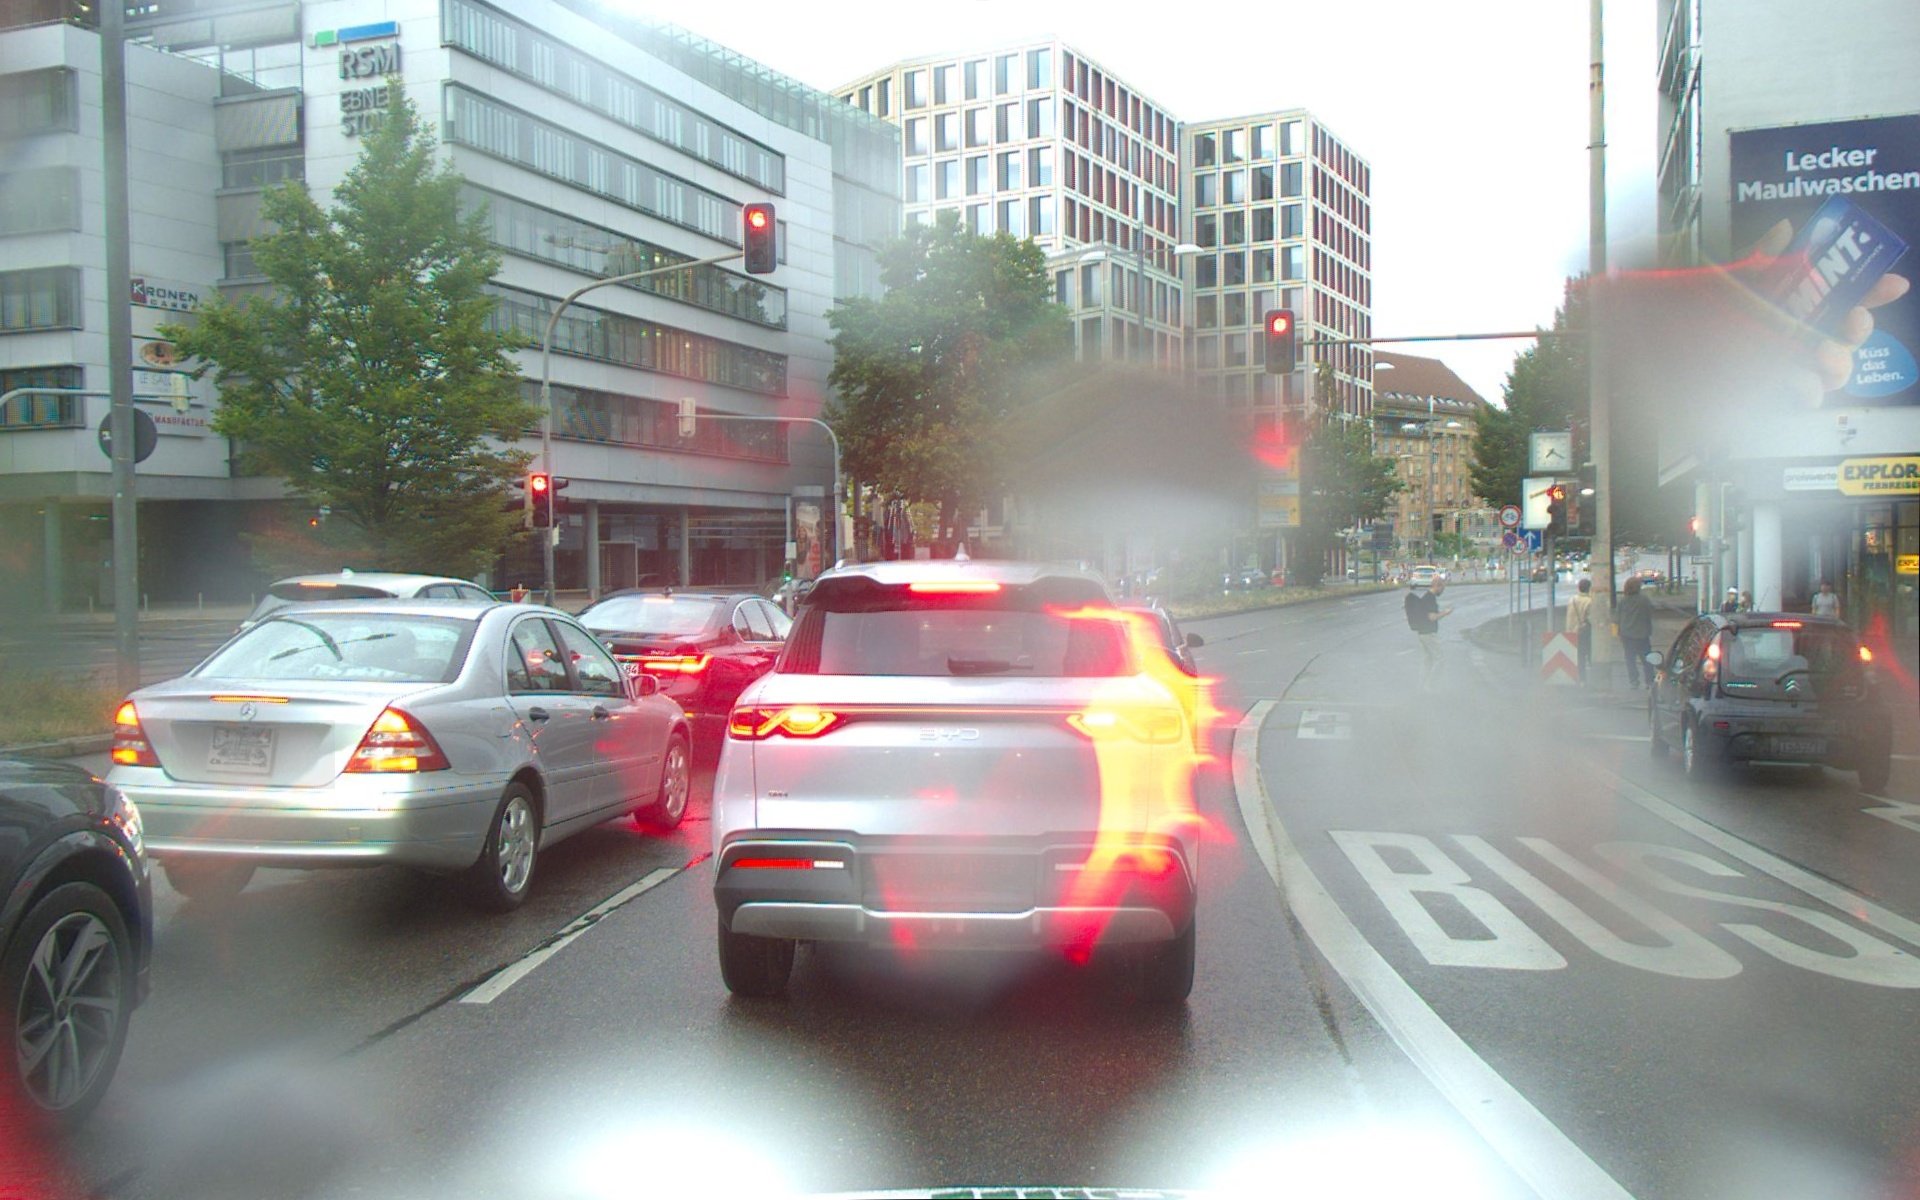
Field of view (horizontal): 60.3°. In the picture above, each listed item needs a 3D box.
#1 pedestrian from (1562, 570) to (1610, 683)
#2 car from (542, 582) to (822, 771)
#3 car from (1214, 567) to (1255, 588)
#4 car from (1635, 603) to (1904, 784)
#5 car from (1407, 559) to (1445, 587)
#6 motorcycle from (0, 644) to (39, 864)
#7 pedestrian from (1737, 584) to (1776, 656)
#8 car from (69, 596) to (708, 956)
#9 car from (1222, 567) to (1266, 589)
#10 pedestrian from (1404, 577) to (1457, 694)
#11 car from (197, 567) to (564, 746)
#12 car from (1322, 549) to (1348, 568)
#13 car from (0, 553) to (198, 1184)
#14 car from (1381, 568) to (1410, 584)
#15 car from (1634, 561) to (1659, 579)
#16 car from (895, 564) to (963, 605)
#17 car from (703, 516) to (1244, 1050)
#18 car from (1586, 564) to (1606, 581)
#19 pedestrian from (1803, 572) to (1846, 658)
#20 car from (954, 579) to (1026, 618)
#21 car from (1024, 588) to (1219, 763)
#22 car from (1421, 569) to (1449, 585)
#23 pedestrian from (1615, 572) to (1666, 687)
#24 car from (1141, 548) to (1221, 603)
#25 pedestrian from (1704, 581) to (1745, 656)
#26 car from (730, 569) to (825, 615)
[{"bbox_3d":[10.353,0.426,27.379,0.733,1.829,0.817,0,1,20],"label":"pedestrian"},{"bbox_3d":[-2.439,0.634,15.480,1.537,1.512,4.003,1,0,6],"label":"car"},{"bbox_3d":[20.429,-1.651,122.872,1.955,1.514,3.996,0,1,27],"label":"car"},{"bbox_3d":[7.481,0.779,15.644,1.537,1.454,4.003,1,0,15],"label":"car"},{"bbox_3d":[28.848,-1.643,102.396,1.849,1.671,4.000,1,1,22],"label":"car"},{"bbox_3d":[-5.679,0.846,8.473,0.784,1.205,2.028,1,0,-1],"label":"motorcycle"},{"bbox_3d":[17.657,0.444,36.658,0.615,1.570,0.649,1,0,43],"label":"pedestrian"},{"bbox_3d":[-2.666,0.722,8.805,1.537,1.432,4.112,1,0,7],"label":"car"},{"bbox_3d":[19.893,-1.535,115.645,1.955,1.514,3.996,0,1,27],"label":"car"},{"bbox_3d":[7.200,0.526,25.337,0.753,1.762,0.597,0,0,13],"label":"pedestrian"},{"bbox_3d":[-5.460,0.491,16.177,1.670,1.512,4.003,1,0,9],"label":"car"},{"bbox_3d":[37.233,-4.067,164.146,1.577,1.771,3.437,1,0,31],"label":"car"},{"bbox_3d":[-3.143,0.657,2.931,1.614,1.548,4.271,1,1,0],"label":"car"},{"bbox_3d":[41.558,-2.299,157.718,1.955,1.514,3.996,0,1,27],"label":"car"},{"bbox_3d":[62.836,-2.766,151.354,1.662,1.512,3.993,1,0,29],"label":"car"},{"bbox_3d":[-1.215,-0.613,66.265,1.609,1.563,4.155,1,0,15],"label":"car"},{"bbox_3d":[0.088,0.601,7.381,1.739,1.708,4.000,1,0,1],"label":"car"},{"bbox_3d":[77.967,-3.354,202.779,1.954,2.049,3.996,1,0,26],"label":"car"},{"bbox_3d":[18.745,0.314,35.862,0.659,1.825,0.768,1,0,43],"label":"pedestrian"},{"bbox_3d":[1.187,-0.047,63.582,1.655,1.409,3.870,1,0,18],"label":"car"},{"bbox_3d":[1.737,0.674,16.646,1.657,1.512,4.003,1,0,10],"label":"car"},{"bbox_3d":[46.782,-2.252,162.779,1.955,1.514,3.996,0,1,27],"label":"car"},{"bbox_3d":[11.053,0.469,26.883,0.733,1.829,0.817,0,1,20],"label":"pedestrian"},{"bbox_3d":[8.764,-0.939,65.276,1.953,2.049,4.848,1,0,22],"label":"car"},{"bbox_3d":[17.222,0.409,37.267,0.659,1.684,0.649,1,0,43],"label":"pedestrian"},{"bbox_3d":[-6.762,-0.313,61.711,1.952,1.639,4.001,1,1,20],"label":"car"}]
